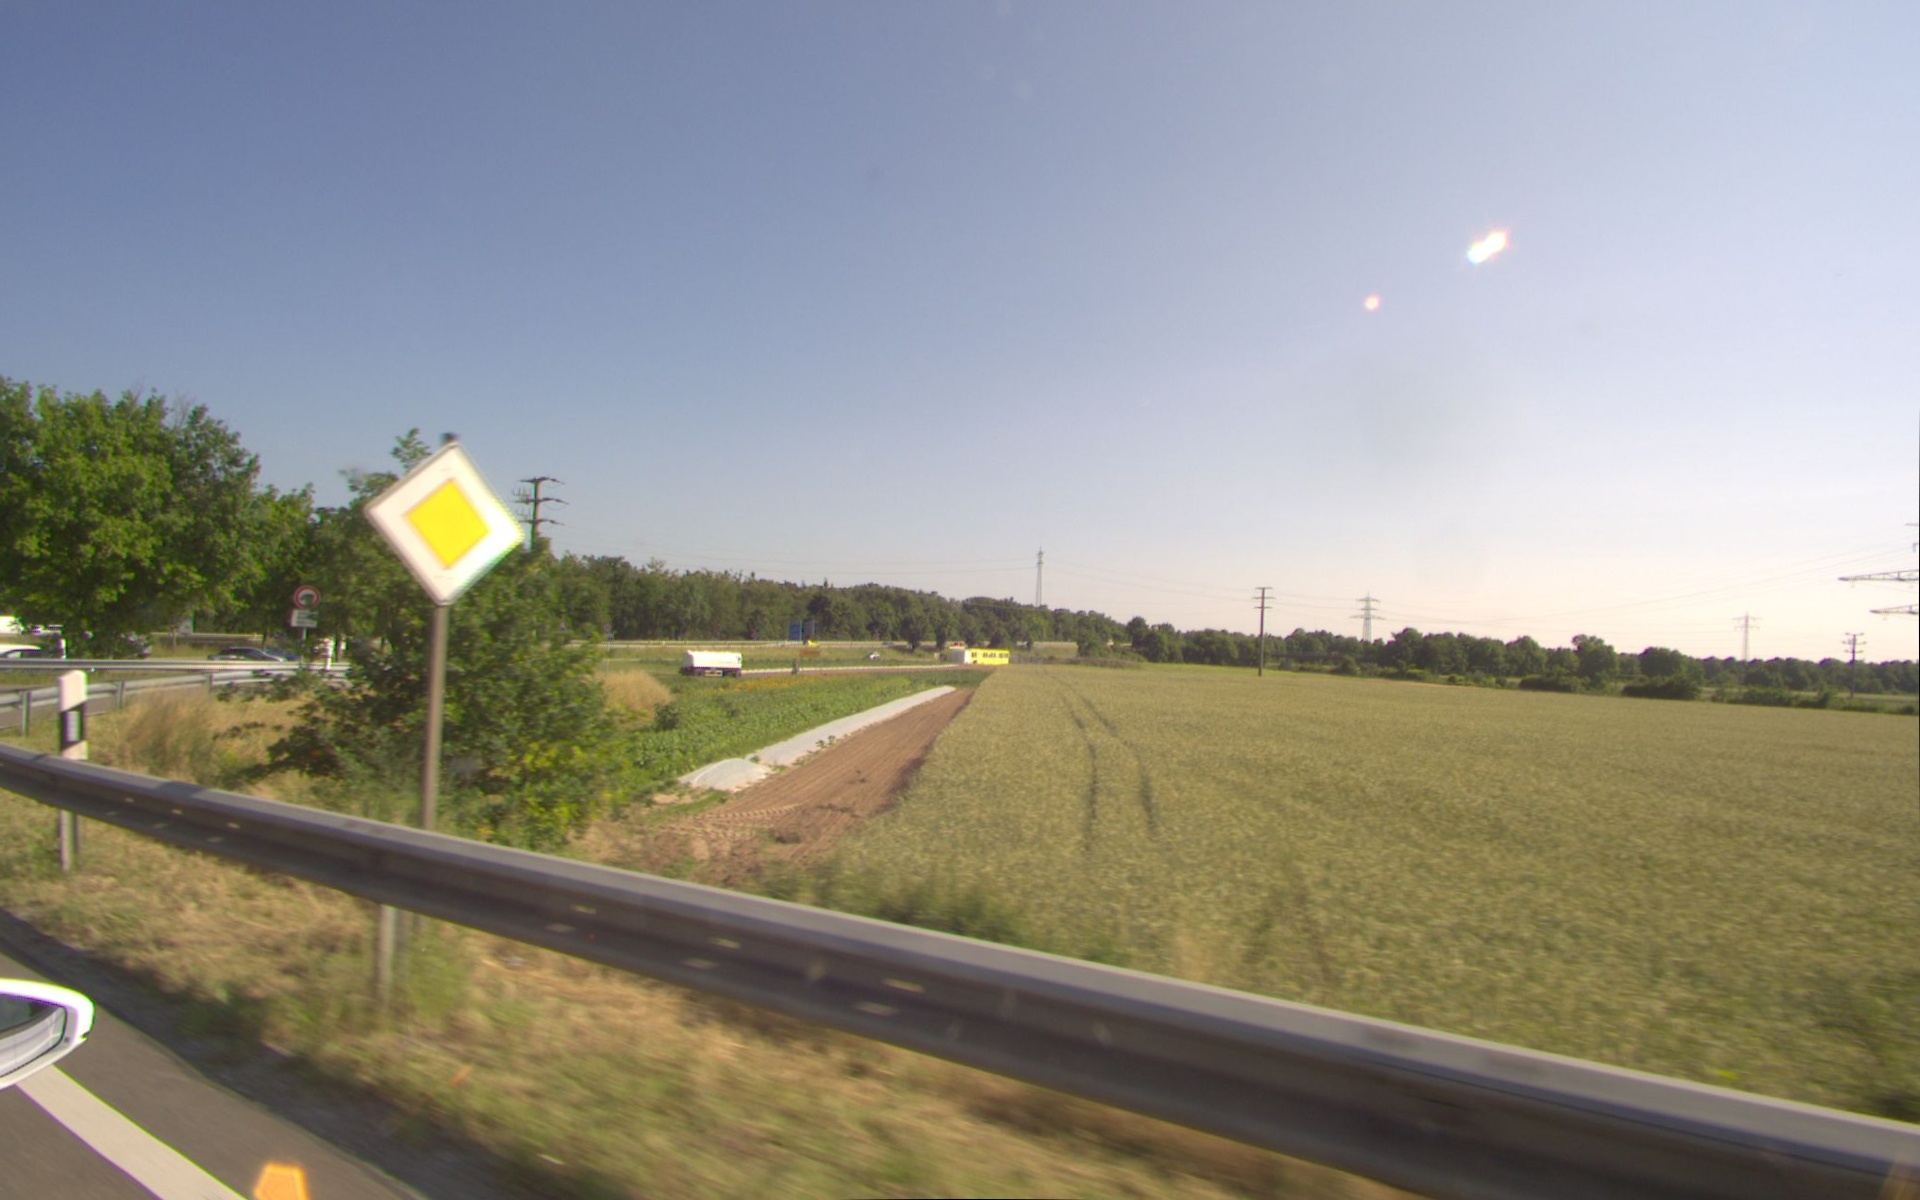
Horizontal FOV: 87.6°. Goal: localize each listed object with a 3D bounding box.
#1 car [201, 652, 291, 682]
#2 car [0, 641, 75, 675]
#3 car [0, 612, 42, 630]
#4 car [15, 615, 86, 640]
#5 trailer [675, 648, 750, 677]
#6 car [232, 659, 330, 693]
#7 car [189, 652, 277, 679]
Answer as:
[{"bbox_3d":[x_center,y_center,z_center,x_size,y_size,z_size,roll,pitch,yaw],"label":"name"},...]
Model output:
[{"bbox_3d":[-43.741,4.134,61.394,4.321,1.608,1.985,6,-4,-38],"label":"car"},{"bbox_3d":[-52.911,3.275,56.481,1.882,1.805,4.332,0,-4,45],"label":"car"},{"bbox_3d":[-83.117,1.836,86.797,1.968,1.572,4.881,0,-1,26],"label":"car"},{"bbox_3d":[-76.511,2.319,84.292,1.772,2.039,3.986,1,-2,28],"label":"car"},{"bbox_3d":[-25.188,6.373,102.129,6.740,2.703,2.867,5,-3,-42],"label":"trailer"},{"bbox_3d":[-36.673,4.126,54.170,1.869,1.599,3.973,0,-5,40],"label":"car"},{"bbox_3d":[-45.608,4.130,62.871,4.321,1.465,1.985,6,-4,-38],"label":"car"}]
